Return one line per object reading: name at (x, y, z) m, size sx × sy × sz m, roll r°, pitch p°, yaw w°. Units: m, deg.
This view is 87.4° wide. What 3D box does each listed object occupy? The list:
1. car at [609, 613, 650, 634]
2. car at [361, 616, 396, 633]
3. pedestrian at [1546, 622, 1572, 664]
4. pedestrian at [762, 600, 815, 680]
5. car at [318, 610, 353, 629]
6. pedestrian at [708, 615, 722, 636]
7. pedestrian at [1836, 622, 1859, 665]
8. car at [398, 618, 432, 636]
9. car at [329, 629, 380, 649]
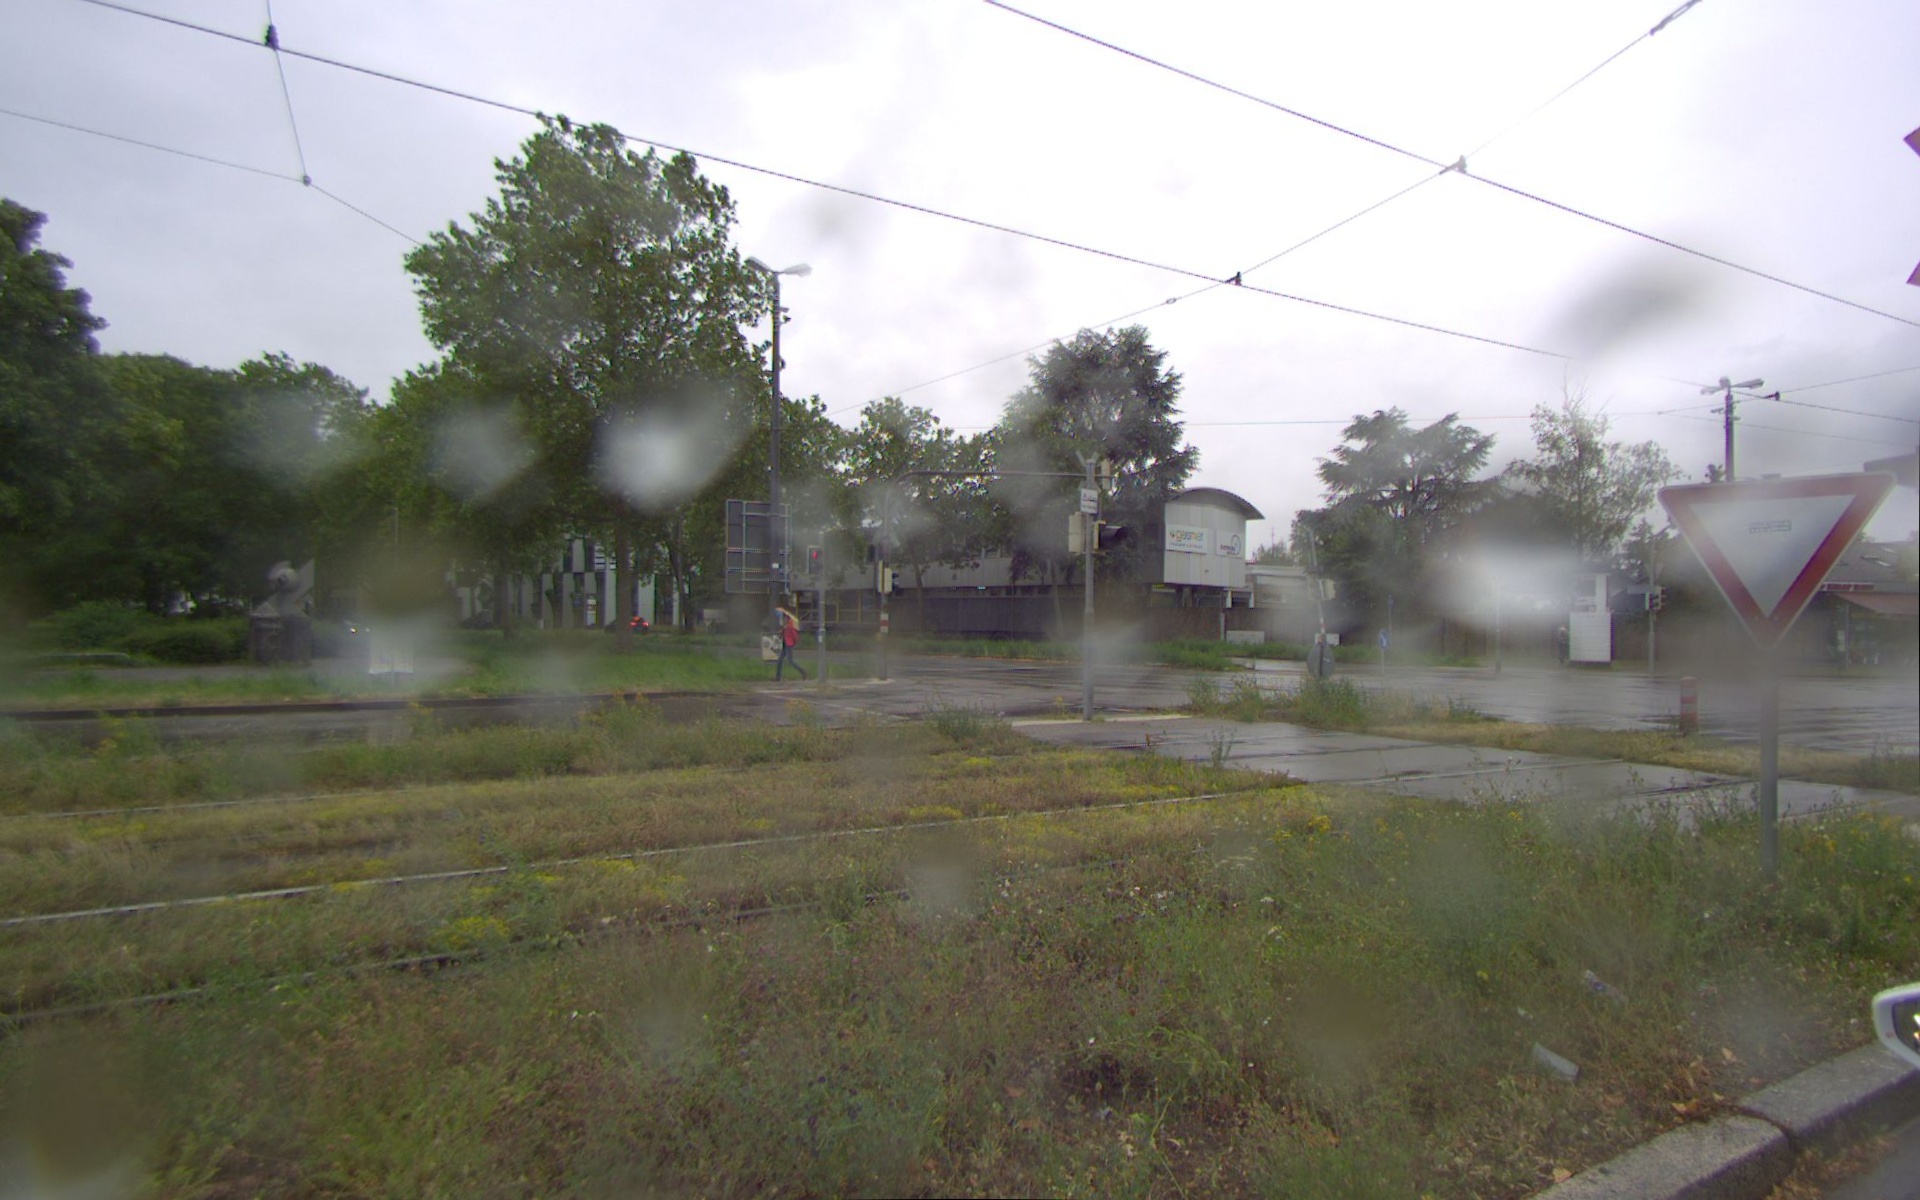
car at (-25.645, 1.810, 77.940) m, size 1.679 × 1.417 × 4.087 m, roll 2°, pitch 0°, yaw -39°
car at (-65.909, 2.757, 113.852) m, size 3.934 × 1.806 × 1.993 m, roll 2°, pitch 0°, yaw 36°
pedestrian at (26.553, 1.892, 44.538) m, size 0.870 × 1.821 × 0.726 m, roll 2°, pitch 1°, yaw 26°
pedestrian at (-4.435, 1.016, 25.943) m, size 0.998 × 2.017 × 0.945 m, roll 2°, pitch 0°, yaw -34°
car at (-75.056, 2.367, 120.689) m, size 3.932 × 2.116 × 2.123 m, roll 2°, pitch 0°, yaw 33°
pedestrian at (-20.630, 2.134, 84.610) m, size 0.810 × 1.690 × 0.672 m, roll 2°, pitch 0°, yaw 27°
pedestrian at (43.071, 2.118, 48.742) m, size 0.714 × 2.040 × 0.791 m, roll 2°, pitch 0°, yaw 38°
car at (-59.789, 2.986, 110.231) m, size 3.940 × 1.806 × 1.990 m, roll 2°, pitch 0°, yaw 41°
car at (-45.464, 2.908, 75.382) m, size 4.244 × 1.420 × 1.798 m, roll -1°, pitch -1°, yaw 37°
